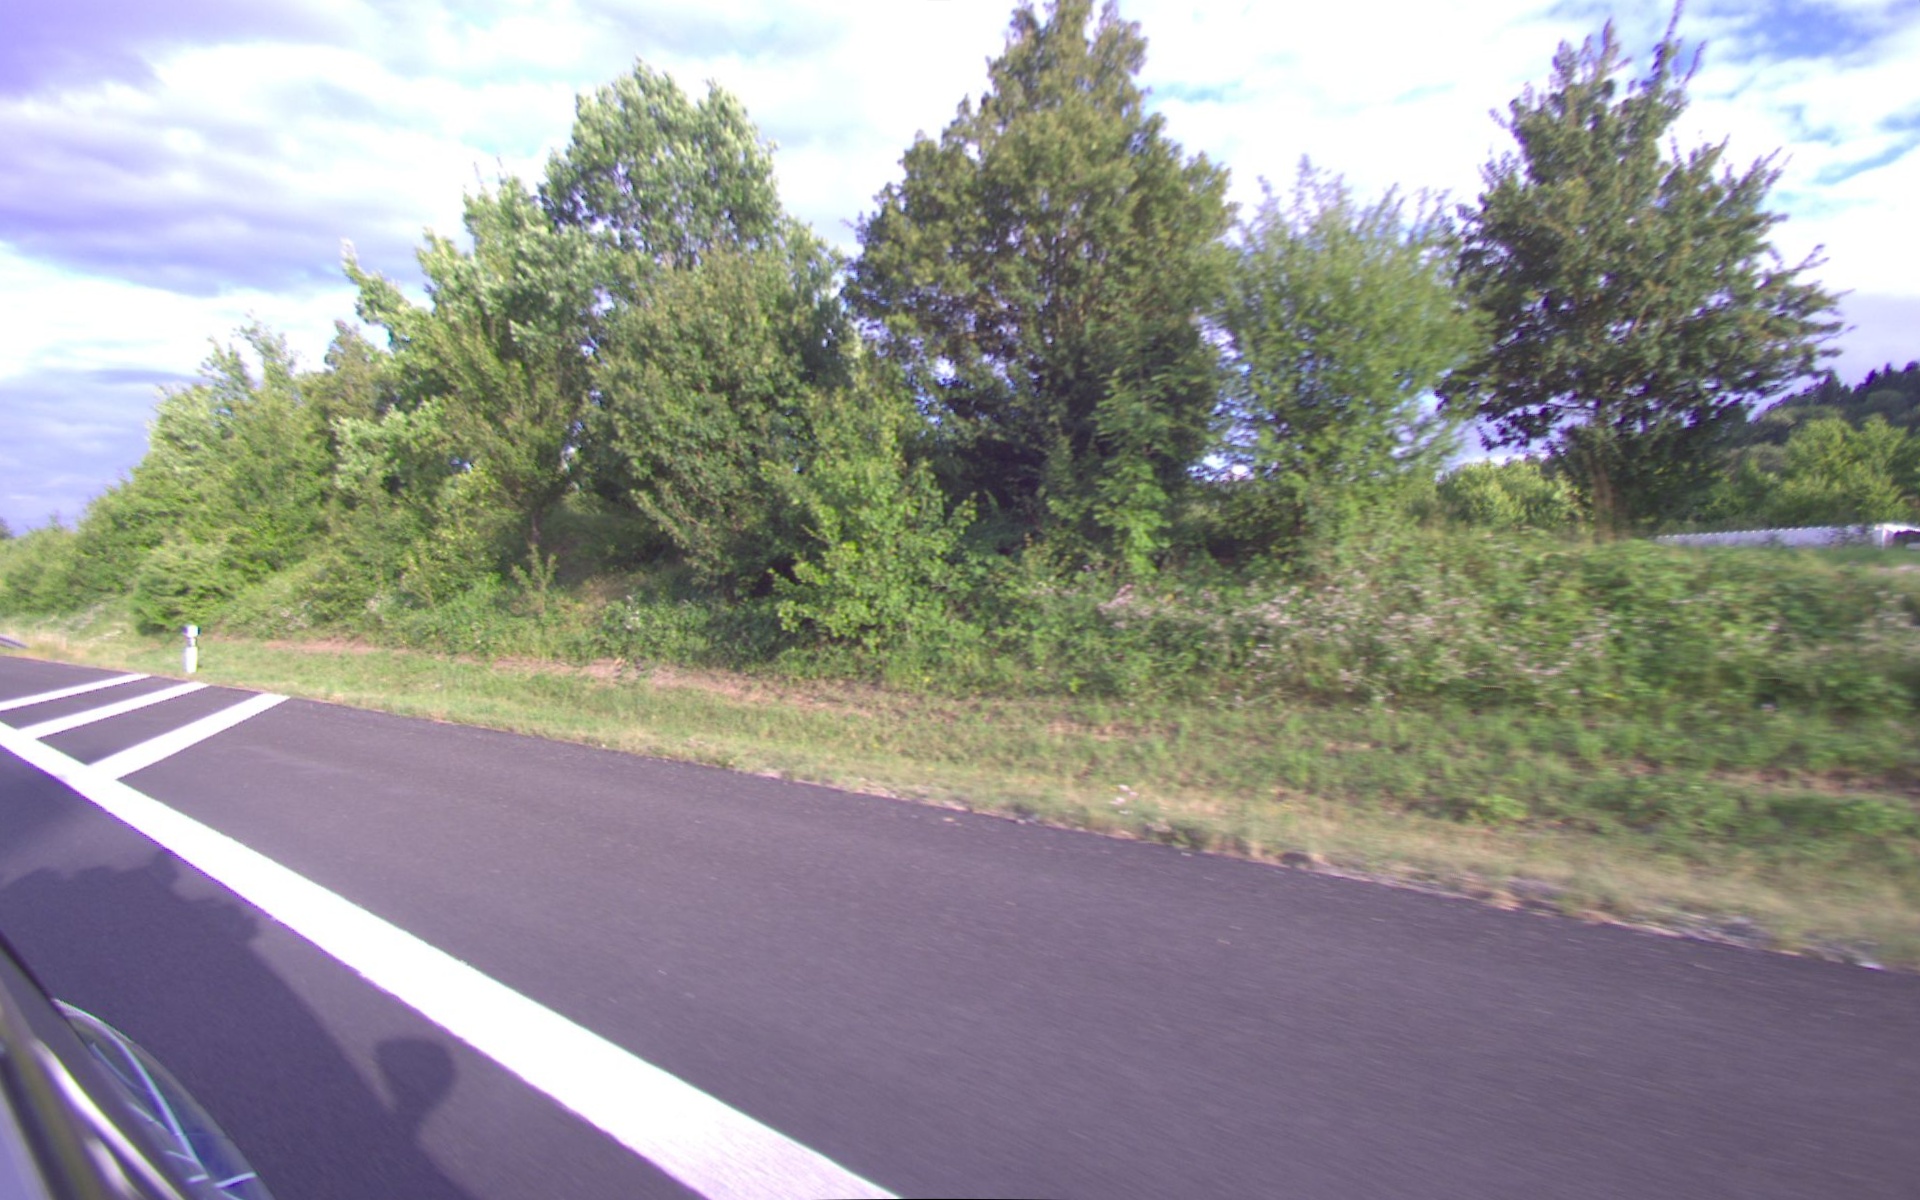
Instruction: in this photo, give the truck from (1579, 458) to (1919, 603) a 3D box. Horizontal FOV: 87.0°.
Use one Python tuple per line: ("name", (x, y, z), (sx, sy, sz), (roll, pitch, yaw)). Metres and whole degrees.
("truck", (25.835, -1.942, 32.340), (2.731, 3.977, 10.181), (1, -1, -33))
